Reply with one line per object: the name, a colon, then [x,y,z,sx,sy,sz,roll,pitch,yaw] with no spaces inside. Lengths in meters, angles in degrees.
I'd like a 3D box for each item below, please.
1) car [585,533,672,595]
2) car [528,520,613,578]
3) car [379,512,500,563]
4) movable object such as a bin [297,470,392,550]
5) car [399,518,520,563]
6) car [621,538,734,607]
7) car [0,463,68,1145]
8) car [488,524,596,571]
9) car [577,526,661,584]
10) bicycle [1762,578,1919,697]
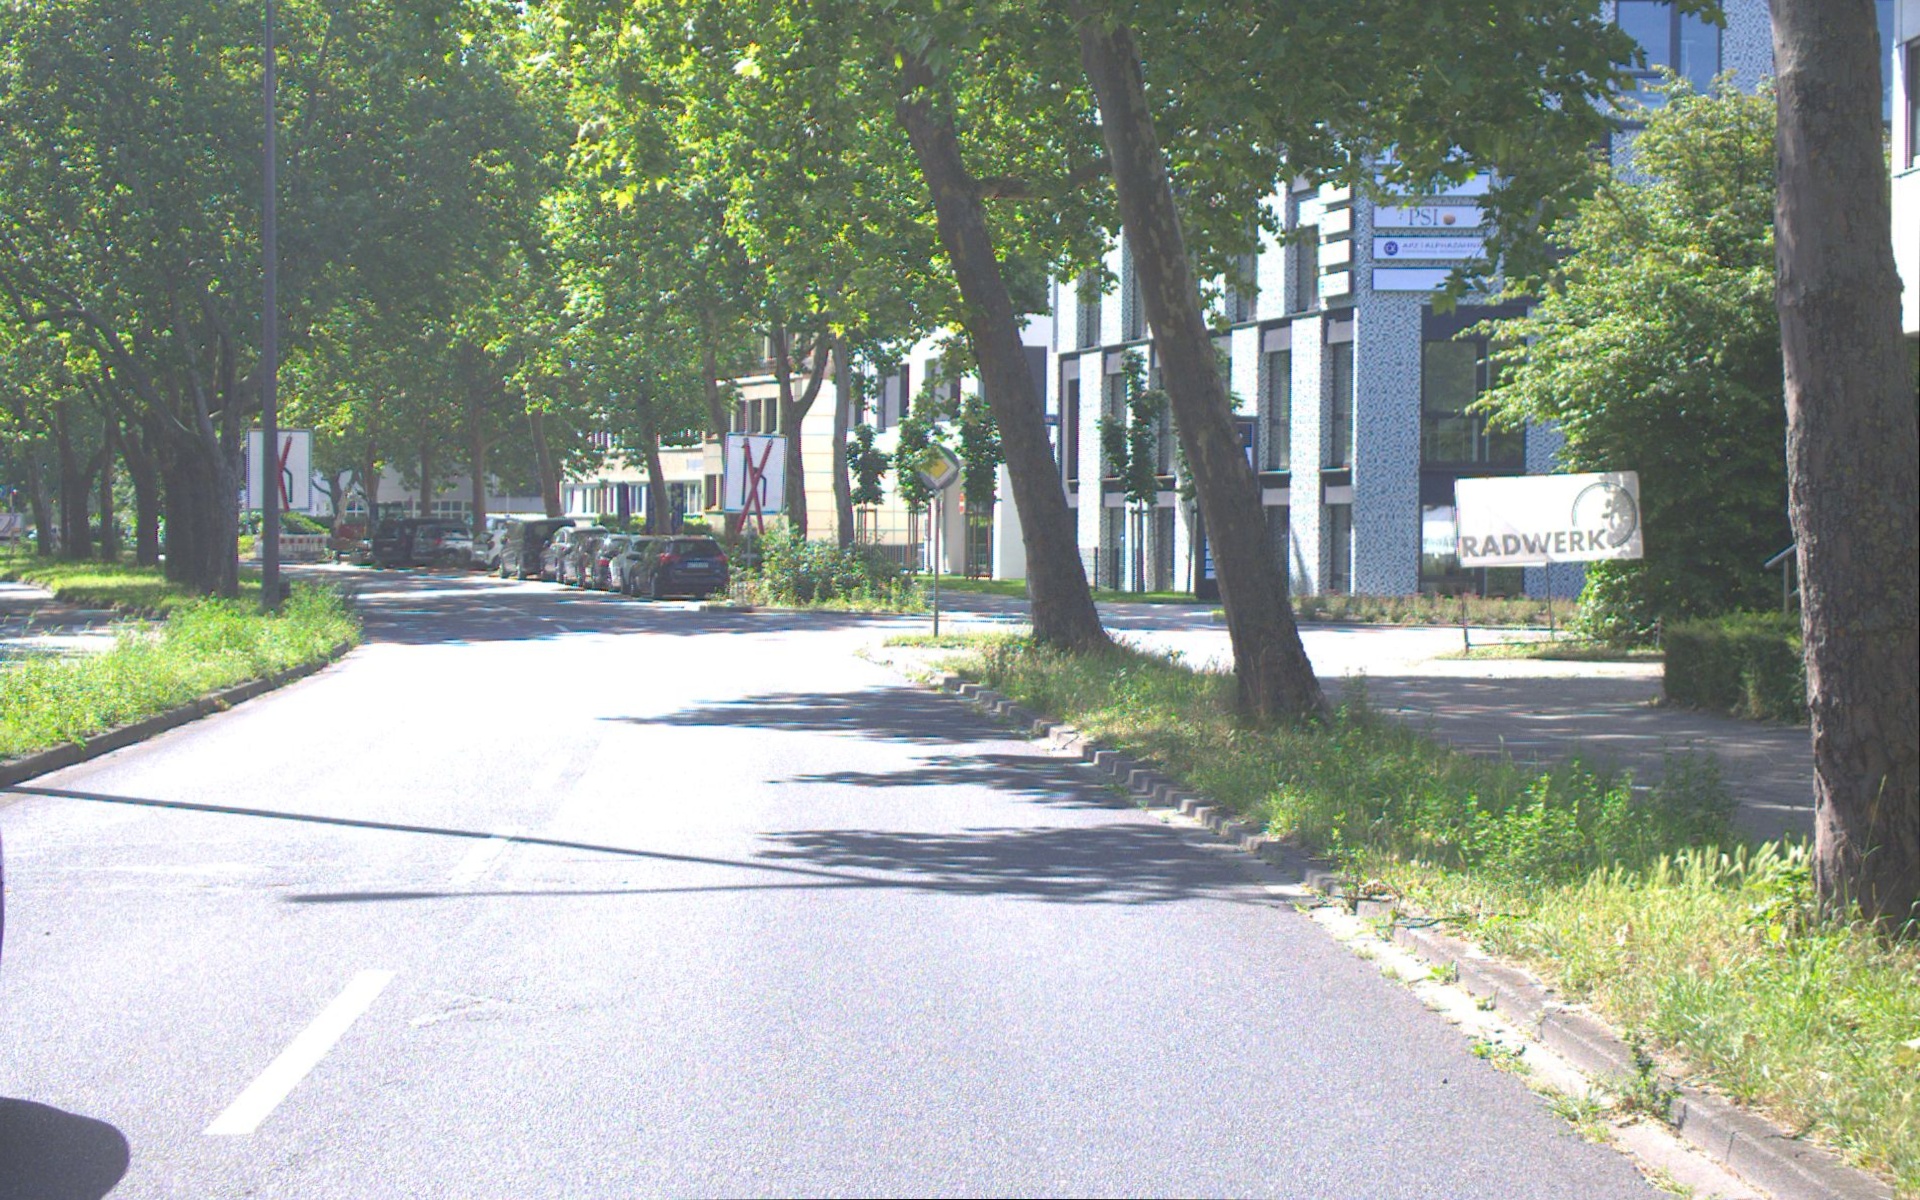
car: [-8.316,-0.916,86.064,1.706,1.482,4.102,0,2,-12]
car: [-11.709,-1.541,103.146,1.706,1.664,4.535,-1,2,-17]
car: [-19.483,-2.345,128.790,4.100,1.873,1.785,-1,2,-34]
movable object such as a bin: [-25.082,-3.670,140.086,2.329,3.229,3.429,-1,2,-42]
car: [-18.450,-2.199,126.775,4.100,1.627,1.712,-1,2,-32]
car: [-6.653,-0.677,80.529,1.706,1.482,4.721,-1,2,-16]
car: [-3.278,0.545,6.997,1.872,1.690,4.436,-1,1,-2]
car: [-14.872,-1.879,122.348,3.551,1.634,1.659,-1,1,-19]
car: [-9.056,-1.202,91.026,1.706,1.450,4.657,0,2,-12]
bicycle: [8.728,0.364,33.575,1.671,1.126,0.509,-1,1,7]
